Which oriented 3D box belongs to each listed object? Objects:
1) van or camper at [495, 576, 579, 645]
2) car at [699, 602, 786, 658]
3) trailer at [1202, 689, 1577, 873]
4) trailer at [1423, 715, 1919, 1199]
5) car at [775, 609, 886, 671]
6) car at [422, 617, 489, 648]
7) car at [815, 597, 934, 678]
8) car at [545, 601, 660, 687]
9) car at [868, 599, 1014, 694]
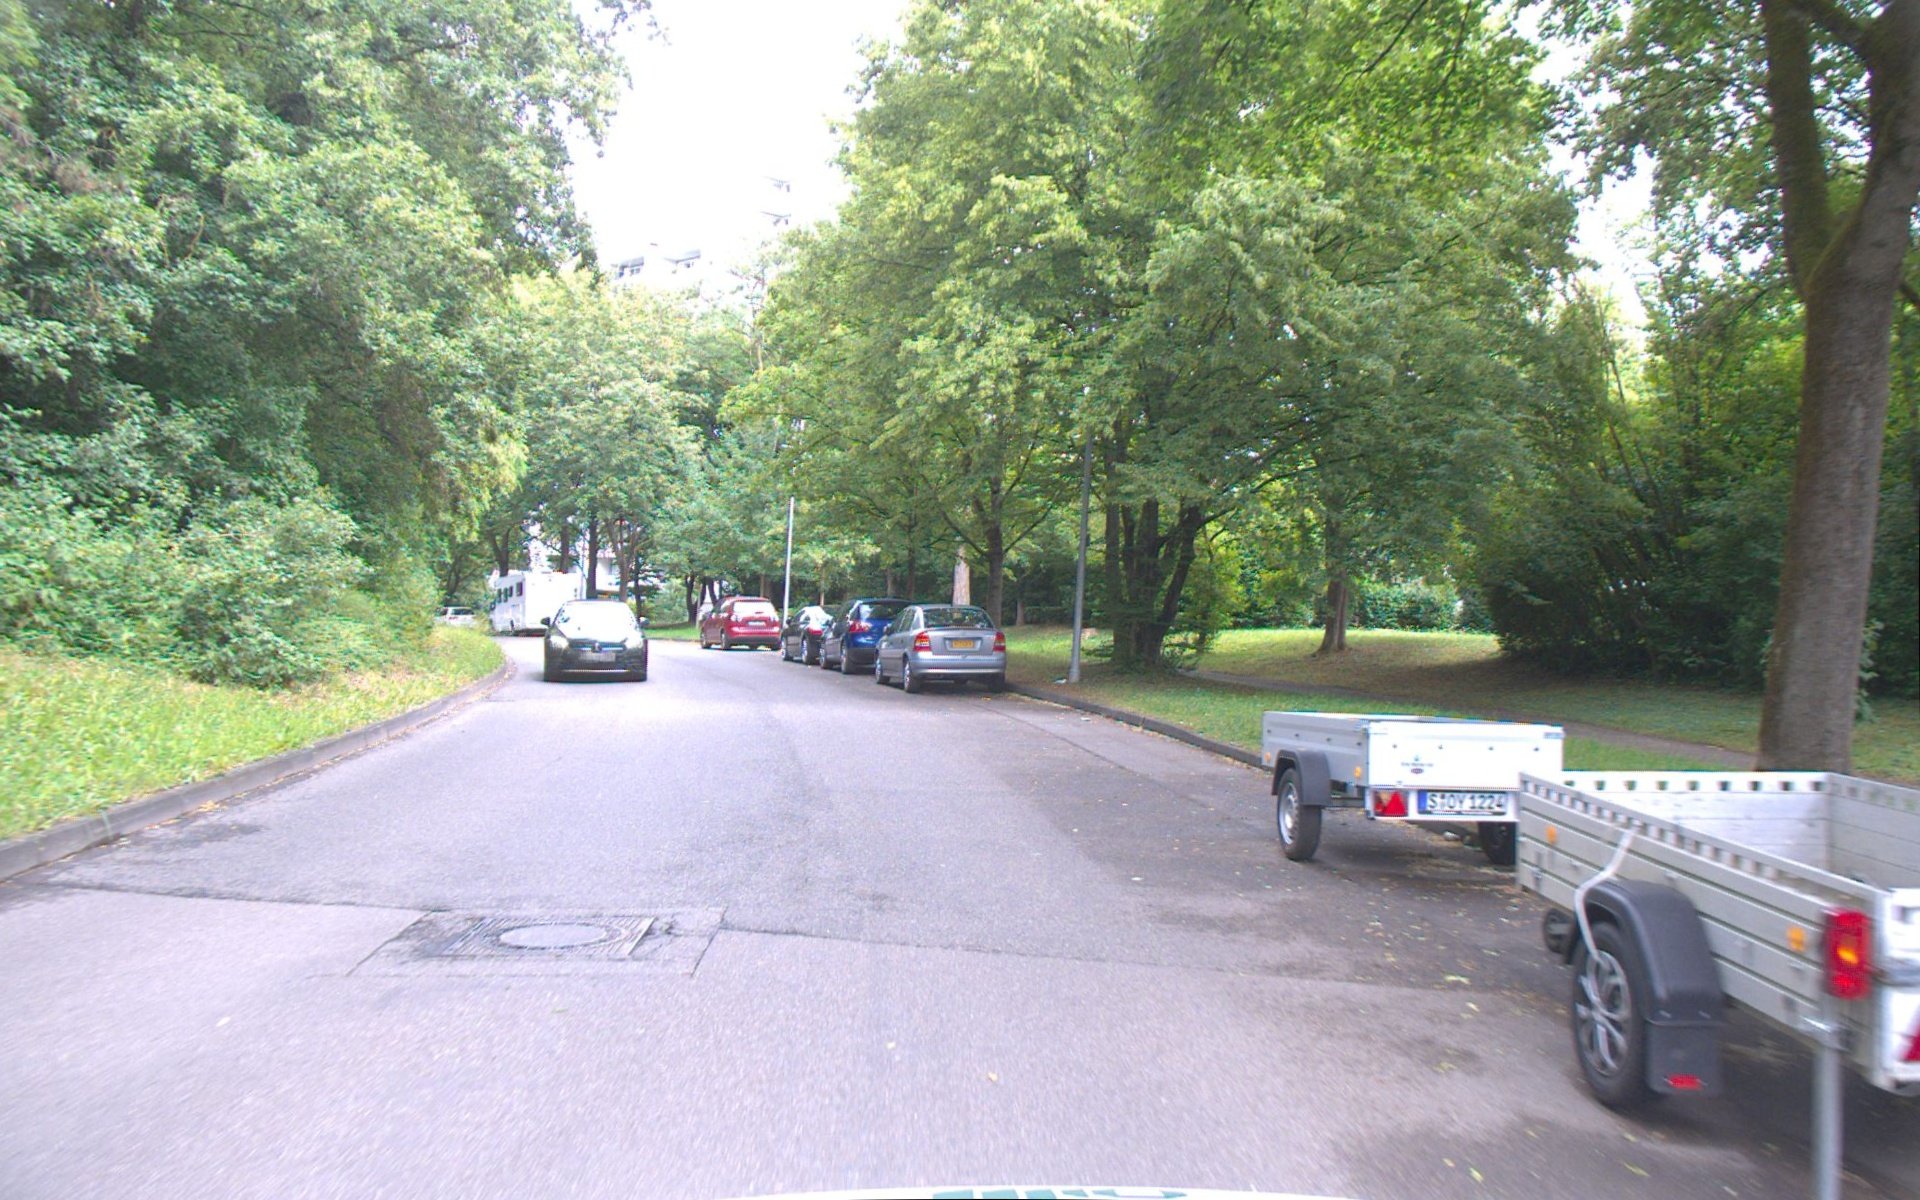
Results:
[{"bbox_3d":[-19.670,0.477,76.744,2.405,3.060,5.152,0,0,-32],"label":"van or camper"},{"bbox_3d":[-6.597,0.904,49.872,1.714,1.590,3.973,1,-1,-22],"label":"car"},{"bbox_3d":[2.619,1.088,10.763,1.337,0.862,3.275,3,-2,-5],"label":"trailer"},{"bbox_3d":[2.876,1.087,5.973,1.329,0.986,3.893,3,0,1],"label":"trailer"},{"bbox_3d":[-3.161,0.931,39.542,1.722,1.360,4.394,2,-1,-17],"label":"car"},{"bbox_3d":[-26.782,1.707,87.744,1.981,1.499,3.943,4,-2,-39],"label":"car"},{"bbox_3d":[-1.872,0.787,34.970,1.685,1.536,4.165,3,-2,-14],"label":"car"},{"bbox_3d":[-6.598,0.808,30.914,1.758,1.413,4.482,3,-2,-9],"label":"car"},{"bbox_3d":[-0.400,0.736,28.393,1.688,1.456,3.935,0,1,-13],"label":"car"}]
